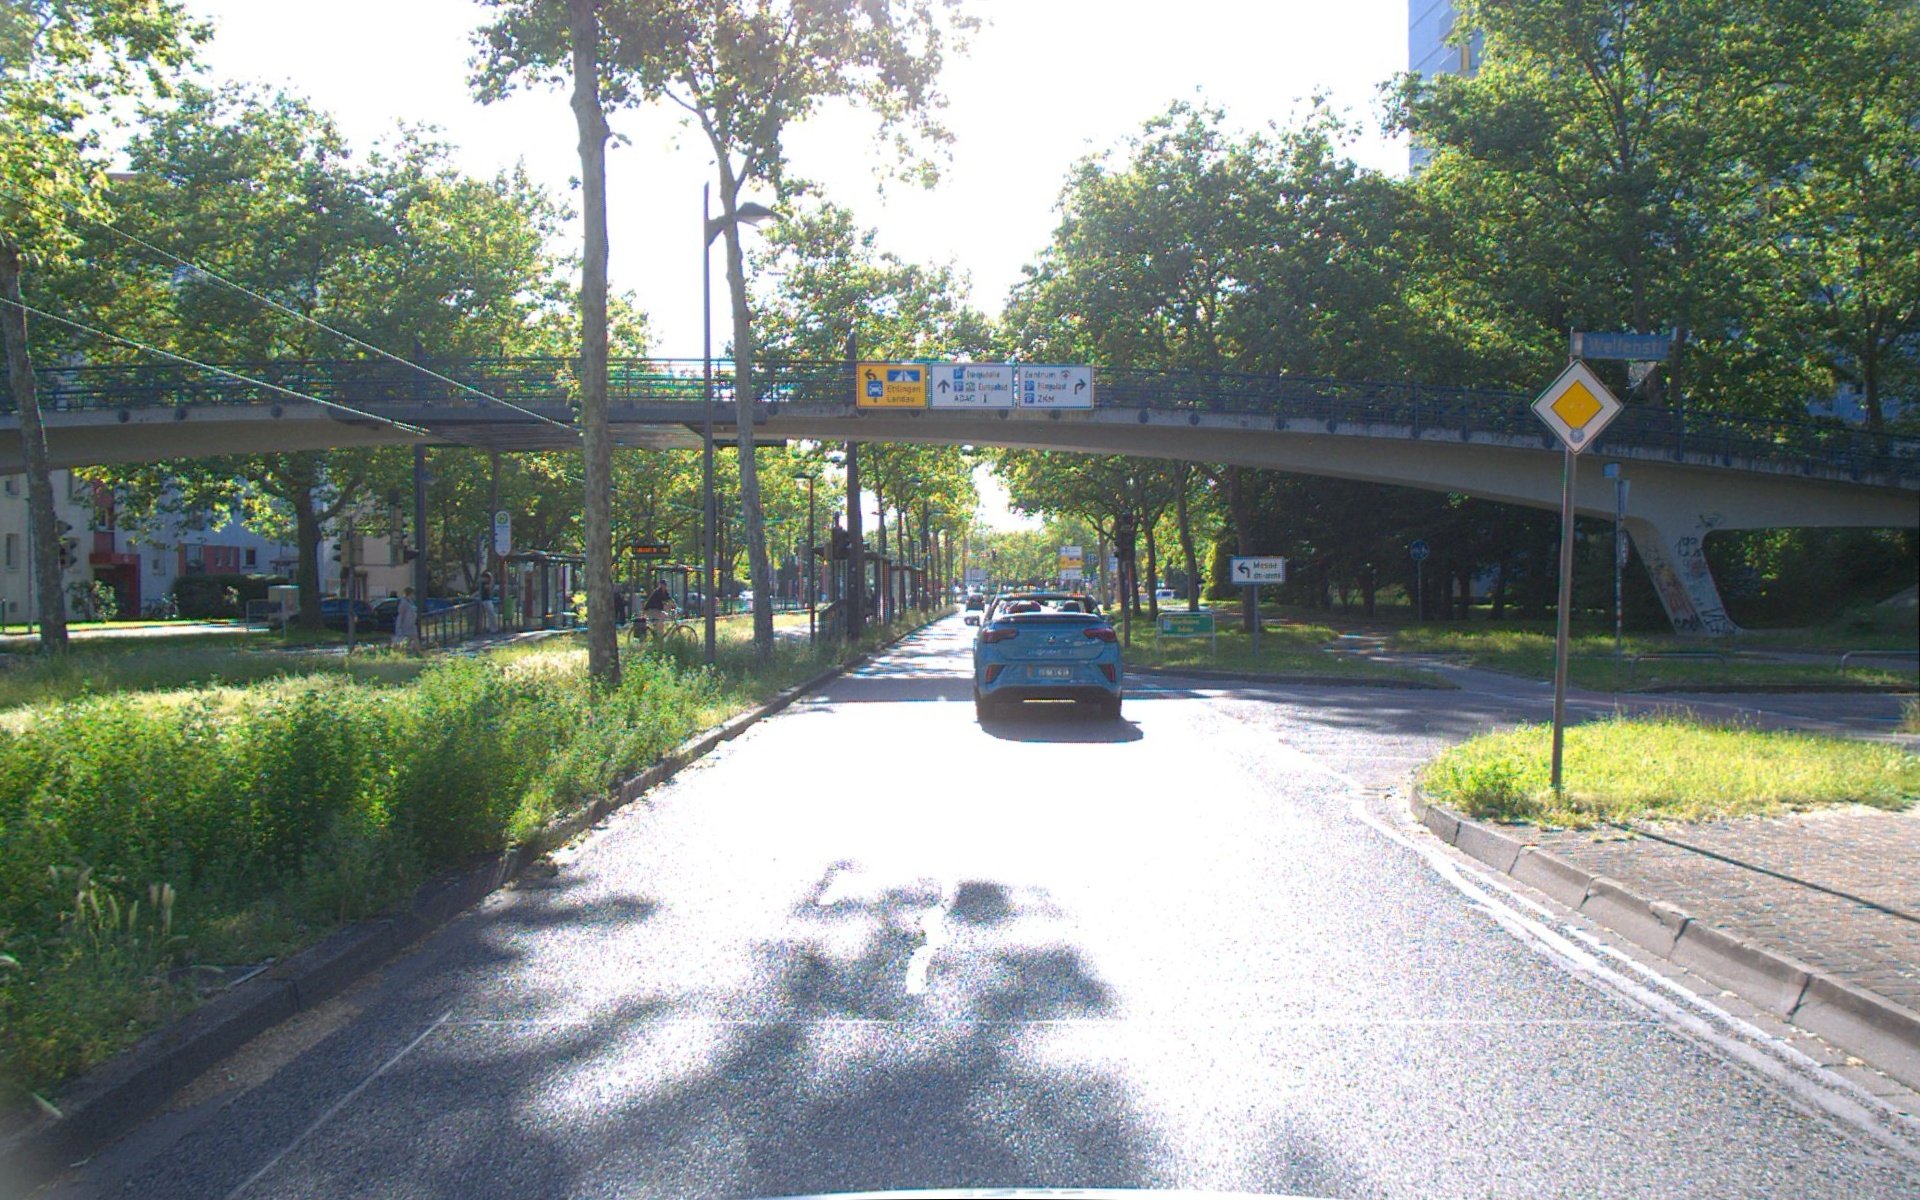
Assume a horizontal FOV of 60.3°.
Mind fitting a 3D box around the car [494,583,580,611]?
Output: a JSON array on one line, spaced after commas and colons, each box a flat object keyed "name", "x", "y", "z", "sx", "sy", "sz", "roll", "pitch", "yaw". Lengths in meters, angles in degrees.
[{"name": "car", "x": -23.916, "y": -0.160, "z": 93.669, "sx": 1.866, "sy": 1.530, "sz": 4.473, "roll": 2, "pitch": 1, "yaw": 42}]

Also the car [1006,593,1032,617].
[{"name": "car", "x": 3.967, "y": 0.334, "z": 111.005, "sx": 1.605, "sy": 1.520, "sz": 3.503, "roll": 1, "pitch": 1, "yaw": 0}]

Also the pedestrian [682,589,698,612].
[{"name": "pedestrian", "x": -13.976, "y": 0.021, "z": 85.588, "sx": 0.680, "sy": 1.147, "sz": 0.662, "roll": -3, "pitch": 0, "yaw": 1}]

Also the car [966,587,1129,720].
[{"name": "car", "x": 1.015, "y": 0.601, "z": 21.002, "sx": 1.740, "sy": 1.509, "sz": 4.099, "roll": 0, "pitch": 0, "yaw": -2}]

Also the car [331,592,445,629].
[{"name": "car", "x": -23.748, "y": 0.434, "z": 68.687, "sx": 4.157, "sy": 1.453, "sz": 1.677, "roll": 1, "pitch": 1, "yaw": -39}]

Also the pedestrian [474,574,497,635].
[{"name": "pedestrian", "x": -14.132, "y": 0.138, "z": 49.283, "sx": 0.499, "sy": 1.801, "sz": 0.477, "roll": 1, "pitch": -1, "yaw": -40}]

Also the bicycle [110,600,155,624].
[{"name": "bicycle", "x": -34.980, "y": 0.499, "z": 69.946, "sx": 0.681, "sy": 0.944, "sz": 2.594, "roll": 1, "pitch": 1, "yaw": -3}]

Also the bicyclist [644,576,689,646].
[{"name": "bicyclist", "x": -7.113, "y": 0.251, "z": 40.137, "sx": 0.934, "sy": 1.660, "sz": 0.814, "roll": 1, "pitch": 1, "yaw": -3}]

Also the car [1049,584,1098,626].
[{"name": "car", "x": 5.170, "y": 0.215, "z": 75.782, "sx": 1.941, "sy": 1.823, "sz": 4.614, "roll": 1, "pitch": 0, "yaw": 0}]

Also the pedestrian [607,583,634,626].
[{"name": "pedestrian", "x": -12.502, "y": 0.163, "z": 60.847, "sx": 0.669, "sy": 1.540, "sz": 0.643, "roll": -2, "pitch": 0, "yaw": 27}]

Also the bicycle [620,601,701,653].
[{"name": "bicycle", "x": -7.257, "y": 0.651, "z": 40.128, "sx": 1.794, "sy": 1.167, "sz": 0.814, "roll": 1, "pitch": 1, "yaw": -3}]

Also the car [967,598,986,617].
[{"name": "car", "x": 1.431, "y": 0.663, "z": 145.262, "sx": 1.675, "sy": 1.631, "sz": 3.349, "roll": 0, "pitch": 0, "yaw": 0}]

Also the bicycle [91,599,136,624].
[{"name": "bicycle", "x": -35.802, "y": 0.486, "z": 69.951, "sx": 0.681, "sy": 0.944, "sz": 2.594, "roll": 1, "pitch": 1, "yaw": -3}]

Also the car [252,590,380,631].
[{"name": "car", "x": -24.117, "y": 0.410, "z": 61.976, "sx": 4.157, "sy": 1.453, "sz": 1.677, "roll": 1, "pitch": 1, "yaw": -39}]

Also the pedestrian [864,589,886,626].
[{"name": "pedestrian", "x": -2.960, "y": 0.259, "z": 57.557, "sx": 0.719, "sy": 1.274, "sz": 0.587, "roll": 1, "pitch": 0, "yaw": -5}]

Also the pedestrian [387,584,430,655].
[{"name": "pedestrian", "x": -13.411, "y": 0.470, "z": 40.209, "sx": 0.710, "sy": 1.703, "sz": 1.048, "roll": 1, "pitch": 0, "yaw": -3}]

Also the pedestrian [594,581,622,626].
[{"name": "pedestrian", "x": -13.224, "y": 0.133, "z": 62.140, "sx": 0.702, "sy": 1.663, "sz": 0.727, "roll": -2, "pitch": 0, "yaw": 41}]
